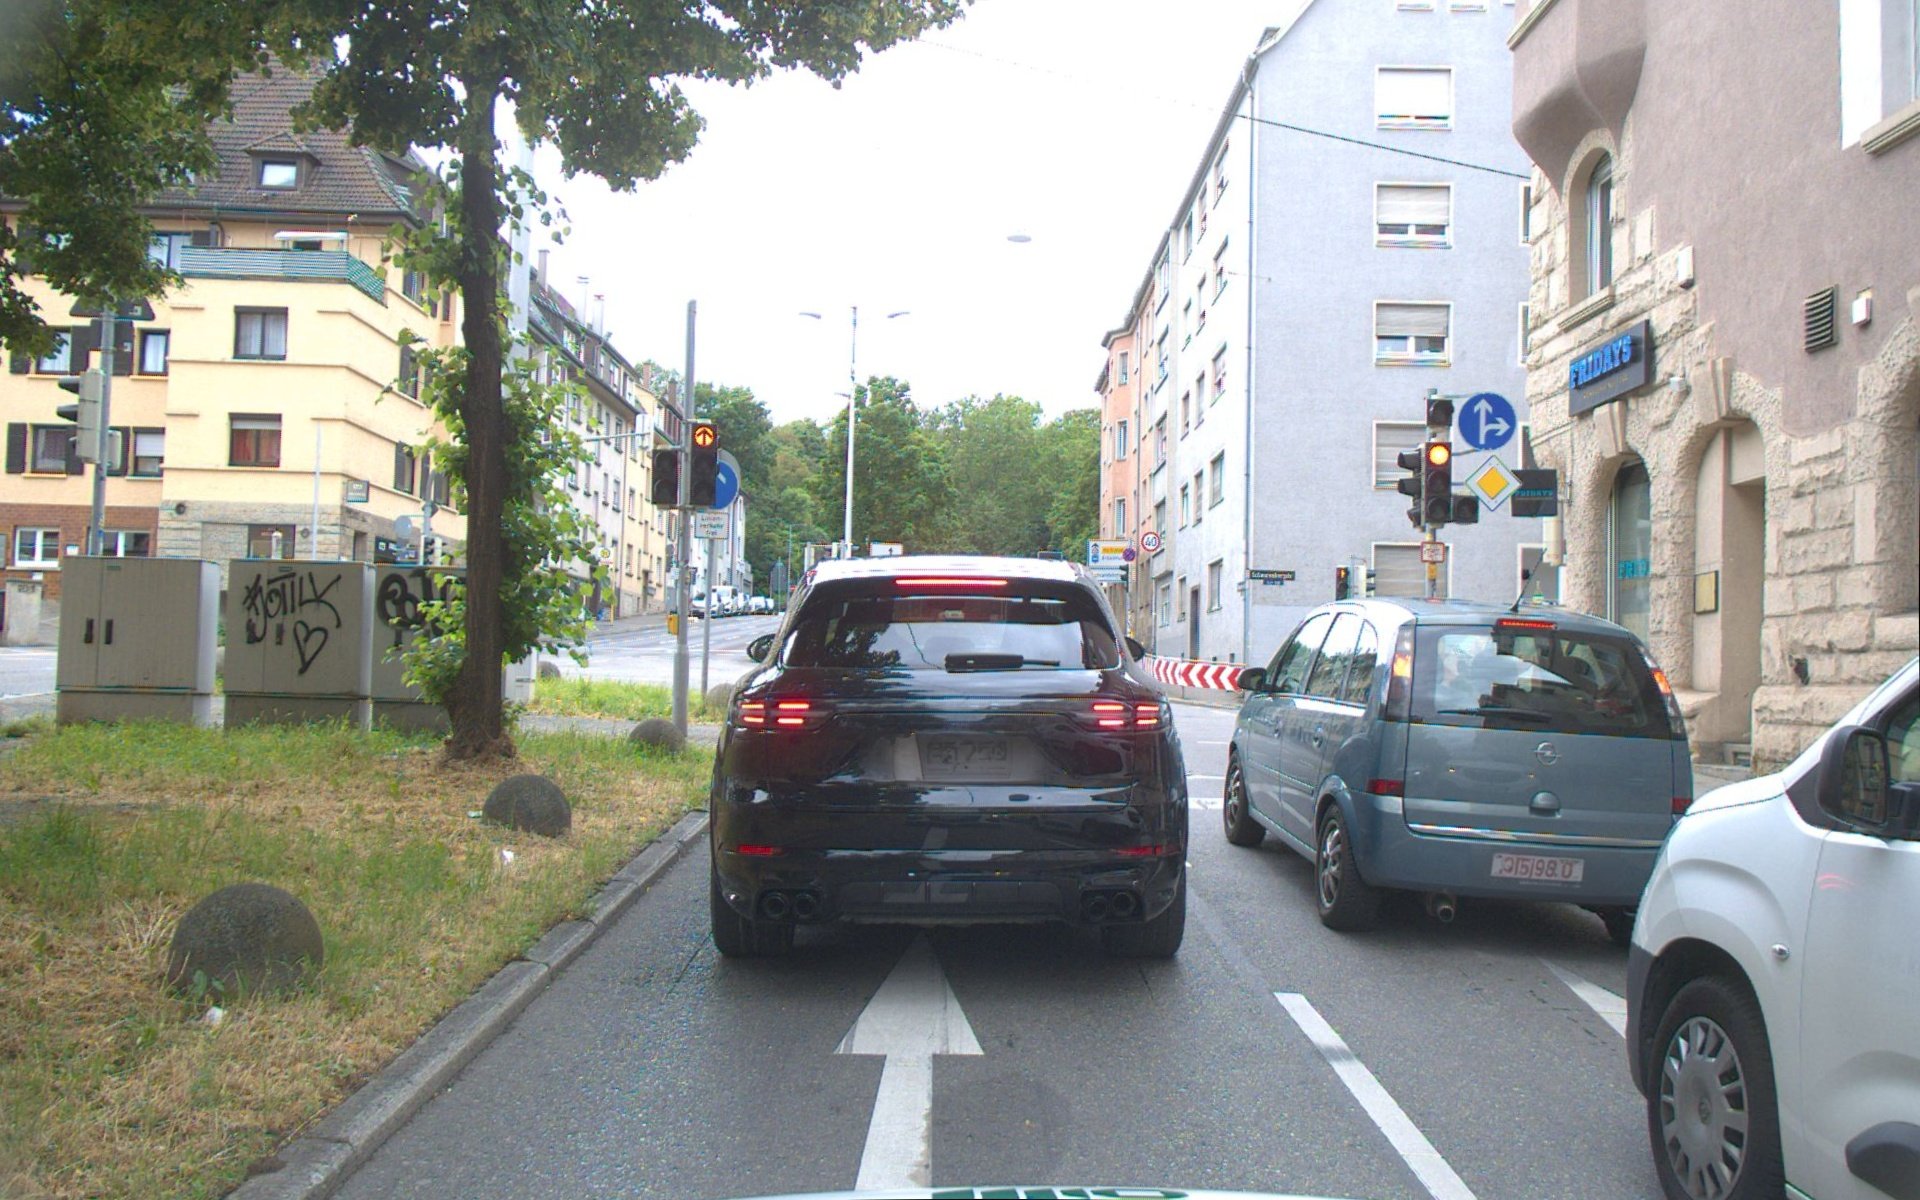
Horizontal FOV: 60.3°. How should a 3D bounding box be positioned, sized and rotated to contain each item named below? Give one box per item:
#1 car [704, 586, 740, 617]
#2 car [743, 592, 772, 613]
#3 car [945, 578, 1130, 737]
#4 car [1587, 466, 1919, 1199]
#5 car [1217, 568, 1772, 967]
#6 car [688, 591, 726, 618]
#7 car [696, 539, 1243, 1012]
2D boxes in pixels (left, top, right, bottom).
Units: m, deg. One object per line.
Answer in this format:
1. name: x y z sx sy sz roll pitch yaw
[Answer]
1. car: -15.028 0.089 104.476 1.758 1.841 3.999 1 0 -1
2. car: -15.403 0.150 125.855 1.758 1.536 3.999 1 0 -1
3. car: 0.854 0.630 19.613 1.953 1.682 4.000 0 -1 1
4. car: 2.784 0.680 2.780 1.811 1.857 5.022 2 -1 4
5. car: 2.626 0.741 9.052 1.717 1.621 3.629 4 0 -1
6. car: -15.196 0.276 99.449 1.758 1.536 3.999 1 0 -1
7. car: 0.062 0.610 7.938 1.953 1.681 4.001 0 1 1
